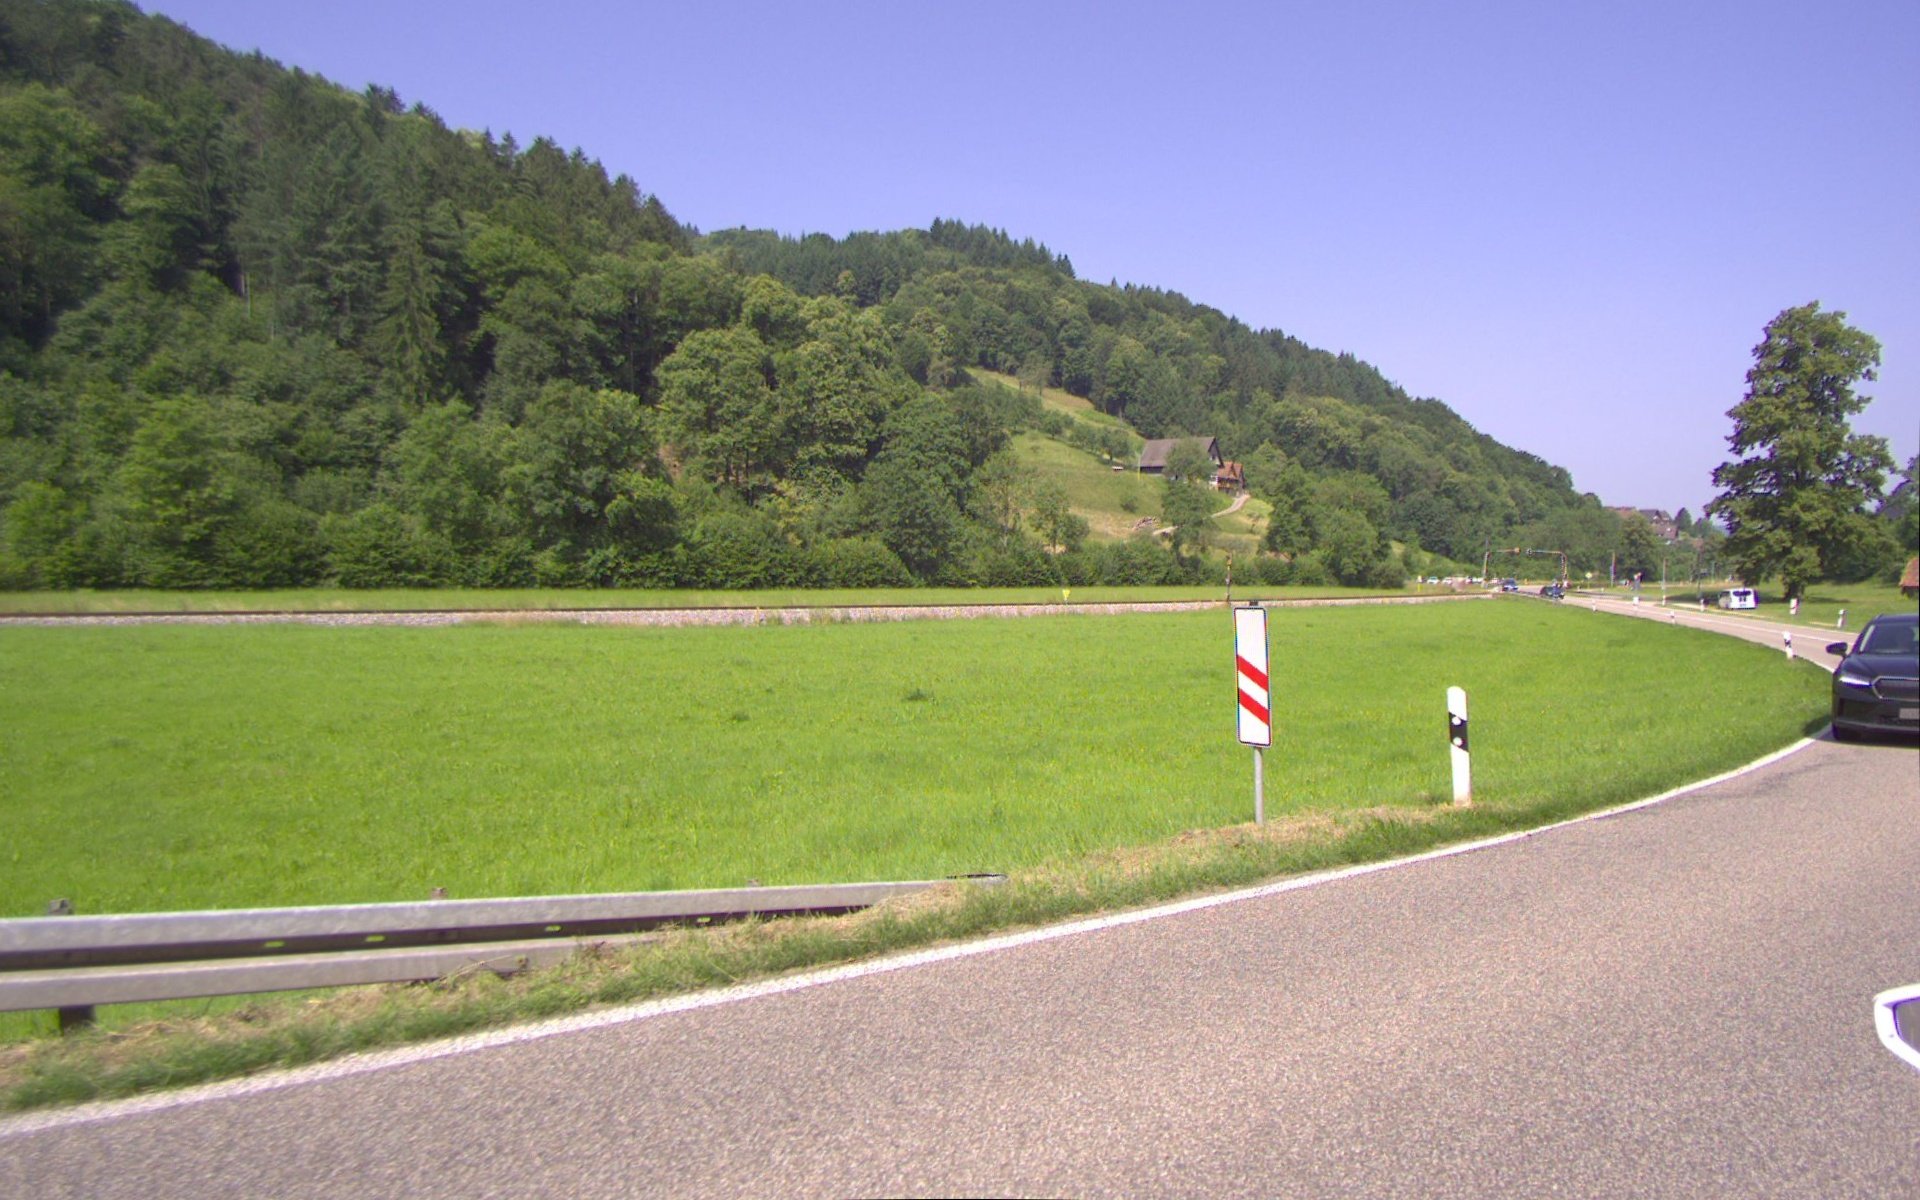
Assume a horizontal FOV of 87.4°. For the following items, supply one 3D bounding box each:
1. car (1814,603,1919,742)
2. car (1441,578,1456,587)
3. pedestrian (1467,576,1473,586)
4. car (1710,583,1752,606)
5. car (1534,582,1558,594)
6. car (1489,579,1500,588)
[{"bbox_3d":[12.711,0.866,13.188,4.564,1.608,1.857,1,-2,-44],"label":"car"},{"bbox_3d":[96.027,-3.389,197.369,1.967,1.663,4.884,1,2,35],"label":"car"},{"bbox_3d":[95.828,-3.625,188.651,0.778,1.867,0.695,1,2,40],"label":"pedestrian"},{"bbox_3d":[71.205,-0.525,92.823,1.968,1.873,4.863,-4,0,25],"label":"car"},{"bbox_3d":[71.984,-1.482,123.411,1.885,1.490,4.508,1,2,22],"label":"car"},{"bbox_3d":[102.095,-3.174,191.872,1.798,1.521,4.272,1,2,26],"label":"car"}]
